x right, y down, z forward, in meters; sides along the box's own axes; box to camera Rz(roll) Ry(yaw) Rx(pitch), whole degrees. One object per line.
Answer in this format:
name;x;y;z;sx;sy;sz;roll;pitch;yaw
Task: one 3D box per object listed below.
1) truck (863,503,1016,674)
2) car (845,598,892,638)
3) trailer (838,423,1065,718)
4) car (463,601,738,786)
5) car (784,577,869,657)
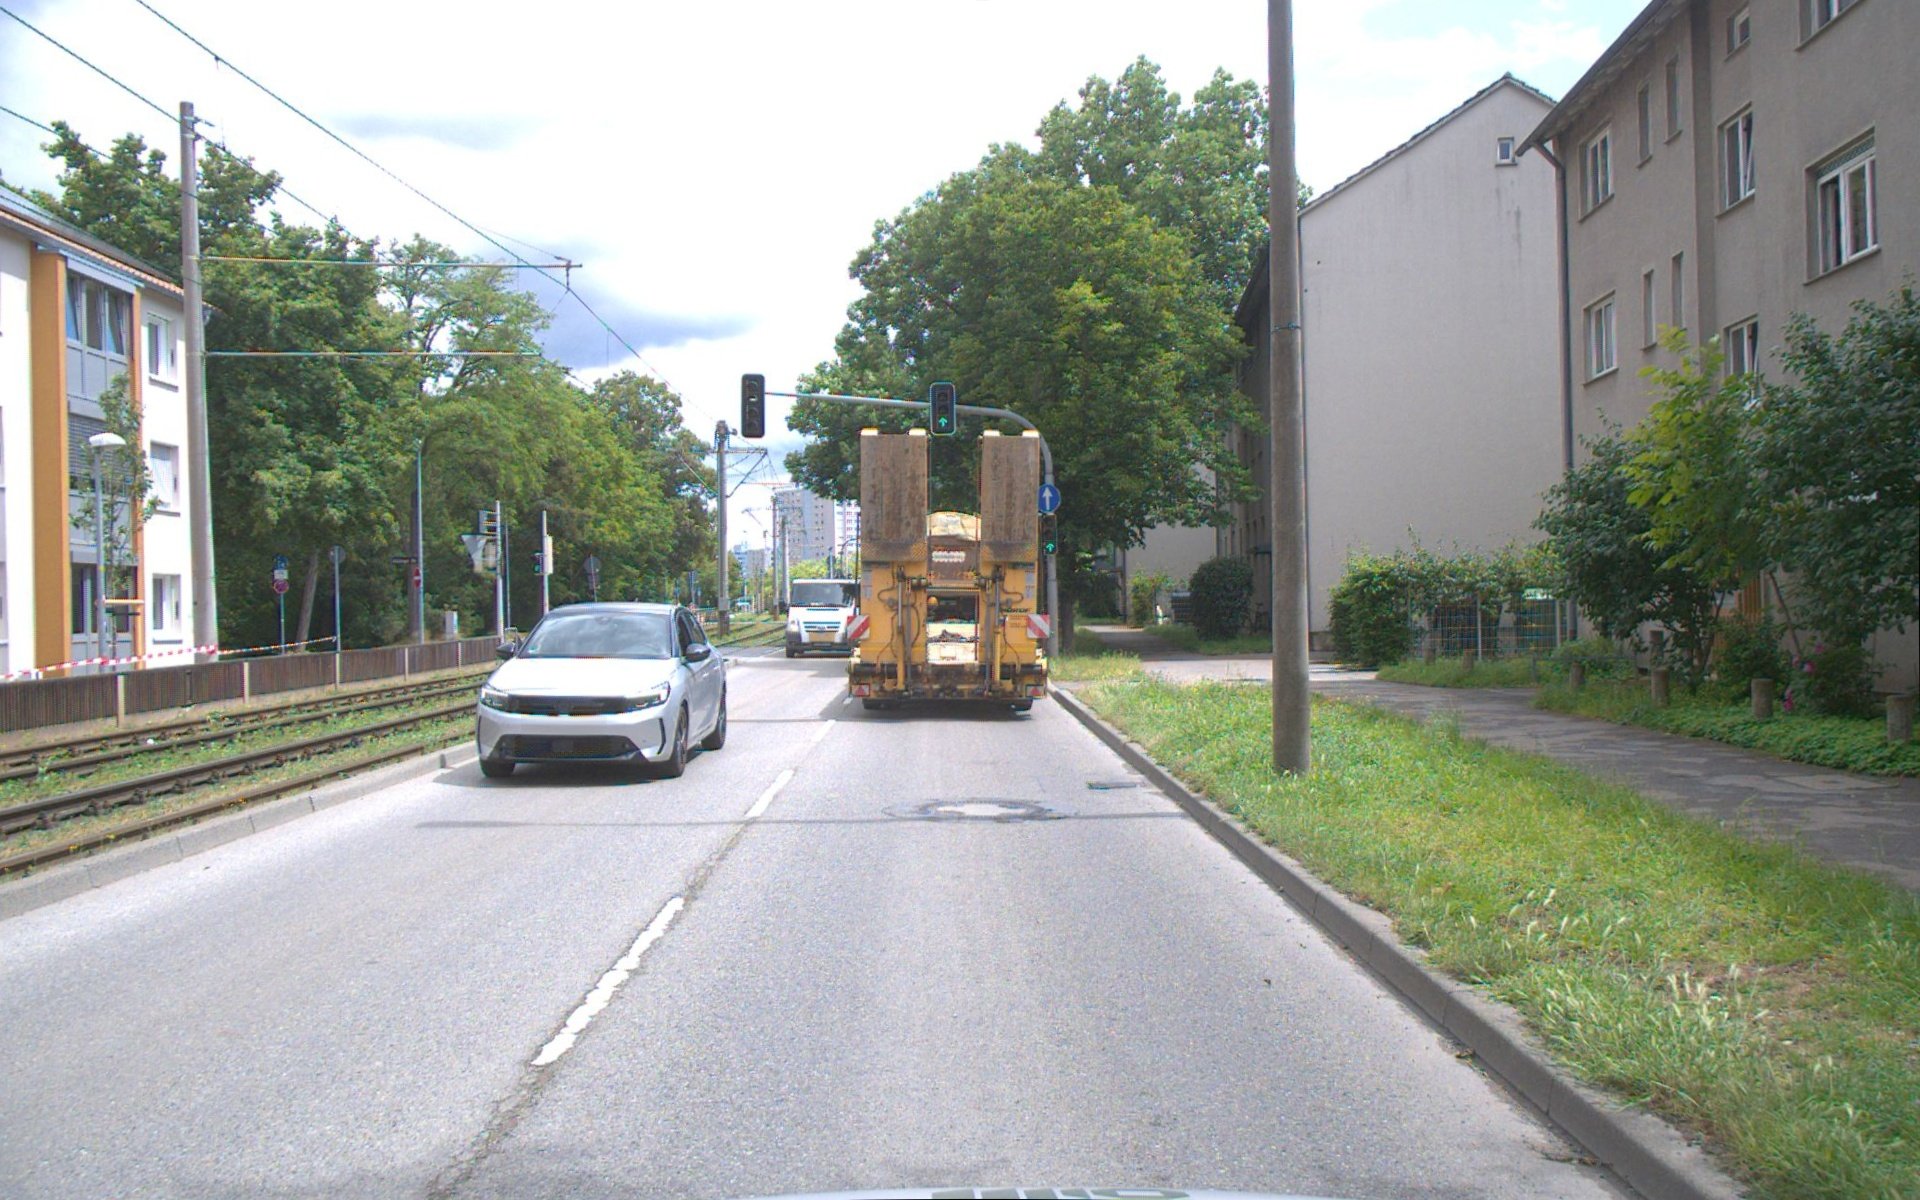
truck;-0.469;-0.233;35.107;2.858;3.222;7.678;0;0;-1
car;-3.520;0.676;64.151;1.645;1.475;4.073;-1;0;-1
trailer;-0.270;-0.375;25.772;2.766;3.585;11.048;0;0;-2
car;-3.113;0.738;15.093;1.695;1.442;3.983;0;0;-1
car;-3.424;0.403;43.062;1.903;1.974;4.316;0;0;-1
